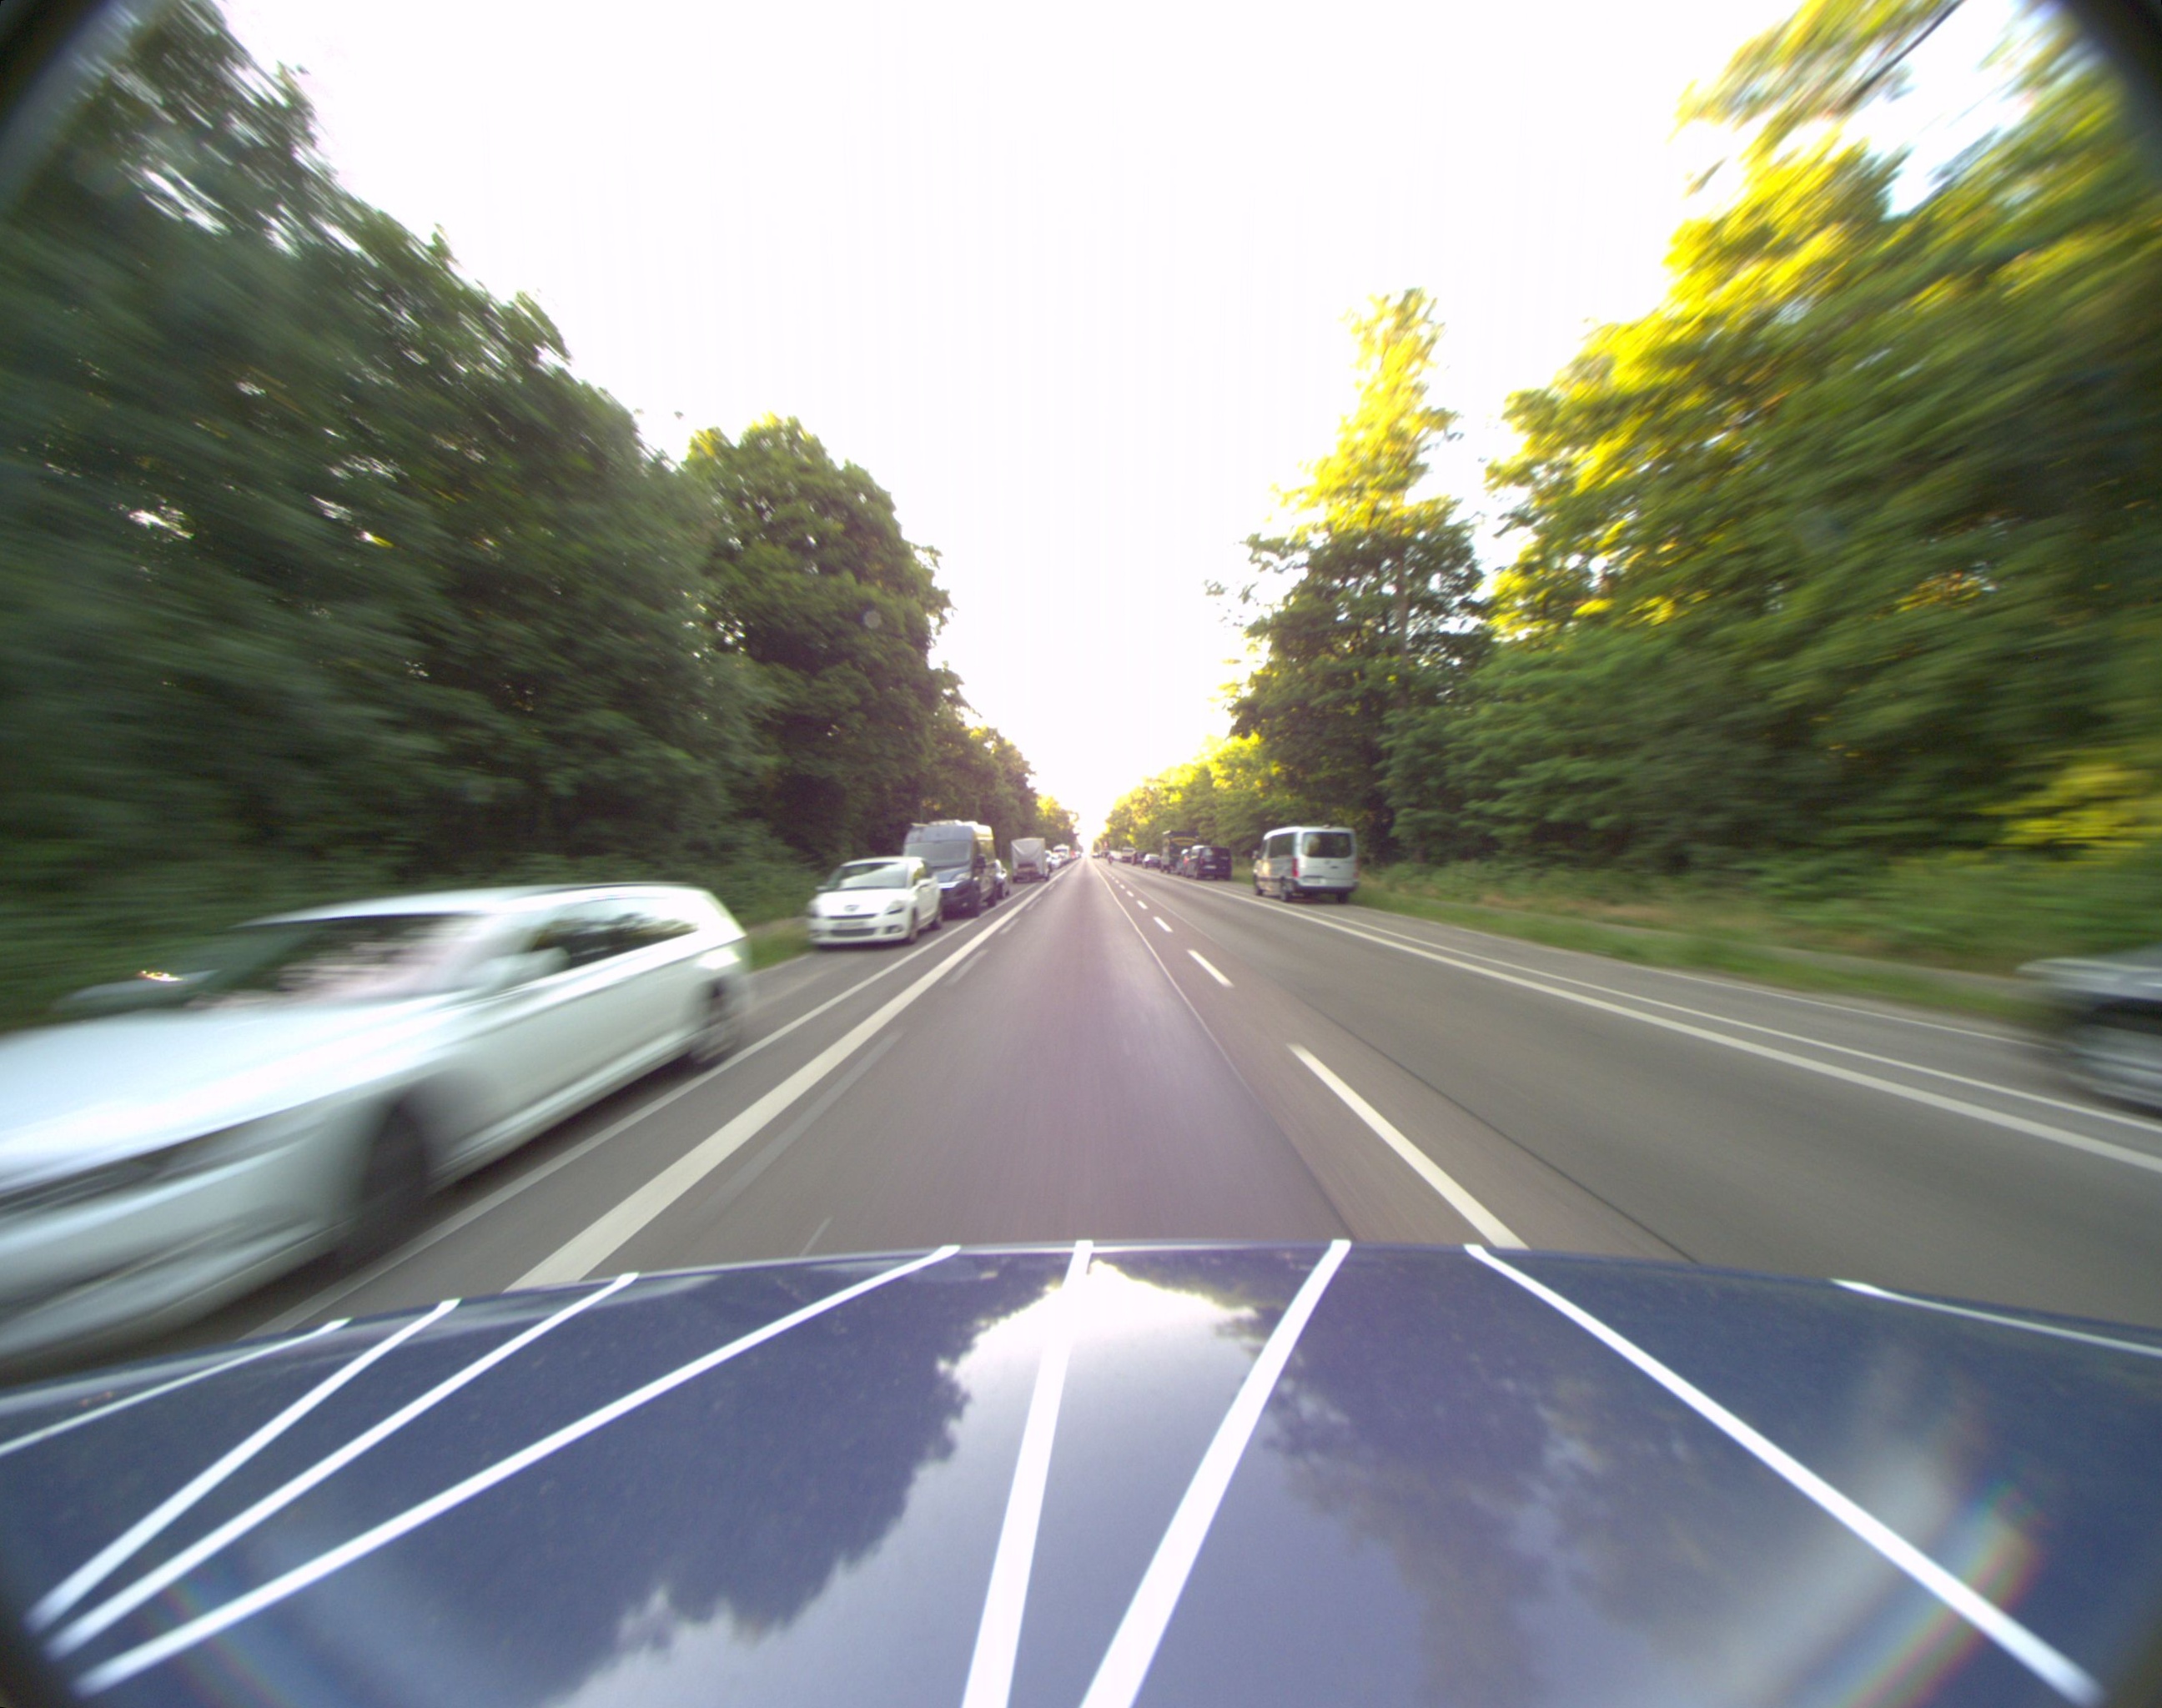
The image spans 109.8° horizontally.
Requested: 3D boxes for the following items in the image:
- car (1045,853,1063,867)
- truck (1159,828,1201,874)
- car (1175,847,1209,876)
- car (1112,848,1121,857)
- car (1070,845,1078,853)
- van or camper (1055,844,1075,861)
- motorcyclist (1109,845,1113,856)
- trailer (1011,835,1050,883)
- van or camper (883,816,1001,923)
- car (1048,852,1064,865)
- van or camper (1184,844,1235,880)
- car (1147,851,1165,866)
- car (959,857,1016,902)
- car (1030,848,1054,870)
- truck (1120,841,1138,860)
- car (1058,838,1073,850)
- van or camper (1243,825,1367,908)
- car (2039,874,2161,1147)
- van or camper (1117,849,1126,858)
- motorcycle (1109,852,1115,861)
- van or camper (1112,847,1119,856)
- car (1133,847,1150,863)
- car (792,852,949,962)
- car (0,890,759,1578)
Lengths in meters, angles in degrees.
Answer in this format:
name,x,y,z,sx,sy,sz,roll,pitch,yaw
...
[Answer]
name,x,y,z,sx,sy,sz,roll,pitch,yaw
car,-3.068,0.686,87.427,1.844,1.585,4.196,-1,0,1
truck,7.471,-0.228,58.218,2.226,3.189,6.270,2,0,-1
car,7.423,0.470,51.074,1.607,1.816,3.758,2,0,-2
car,8.401,-0.398,181.148,1.998,1.893,3.999,-2,1,1
car,-1.689,-1.269,188.066,1.844,2.007,4.196,-1,0,1
van or camper,-2.686,-0.288,129.210,3.015,2.704,6.959,-1,0,1
motorcyclist,4.353,-0.512,109.613,0.558,1.614,0.875,-1,1,1
trailer,-2.886,0.238,44.568,1.866,2.633,4.269,-2,1,0
van or camper,-3.686,0.391,21.465,2.132,2.526,6.060,-2,0,0
car,-3.162,0.525,96.523,1.844,1.585,4.196,-1,0,1
van or camper,7.531,0.455,44.928,2.034,1.945,4.691,2,0,-2
car,7.664,0.465,78.224,1.606,1.495,3.760,2,0,3
car,-3.534,0.913,29.286,1.607,1.468,4.533,-3,0,-1
car,-3.596,0.435,70.643,1.976,1.908,4.196,-1,0,1
truck,8.194,-0.677,130.006,2.654,3.039,5.800,-2,1,1
car,-2.824,-1.798,138.613,2.537,2.270,5.553,-1,0,1
van or camper,7.237,0.344,25.444,2.116,2.376,6.380,2,0,-1
car,6.928,0.900,2.939,1.676,1.511,3.735,1,0,-1
van or camper,8.998,-0.065,168.134,1.844,1.965,4.196,-1,0,1
motorcycle,4.485,0.317,109.490,0.842,1.301,2.433,-1,0,1
van or camper,9.405,-0.727,206.837,1.844,2.264,4.196,-1,0,1
car,7.944,0.104,100.012,1.852,1.948,3.934,2,0,-1
car,-3.932,0.880,15.076,1.856,1.754,4.723,-3,0,-2
car,-3.672,1.075,4.162,1.848,1.485,4.758,-2,0,-2
